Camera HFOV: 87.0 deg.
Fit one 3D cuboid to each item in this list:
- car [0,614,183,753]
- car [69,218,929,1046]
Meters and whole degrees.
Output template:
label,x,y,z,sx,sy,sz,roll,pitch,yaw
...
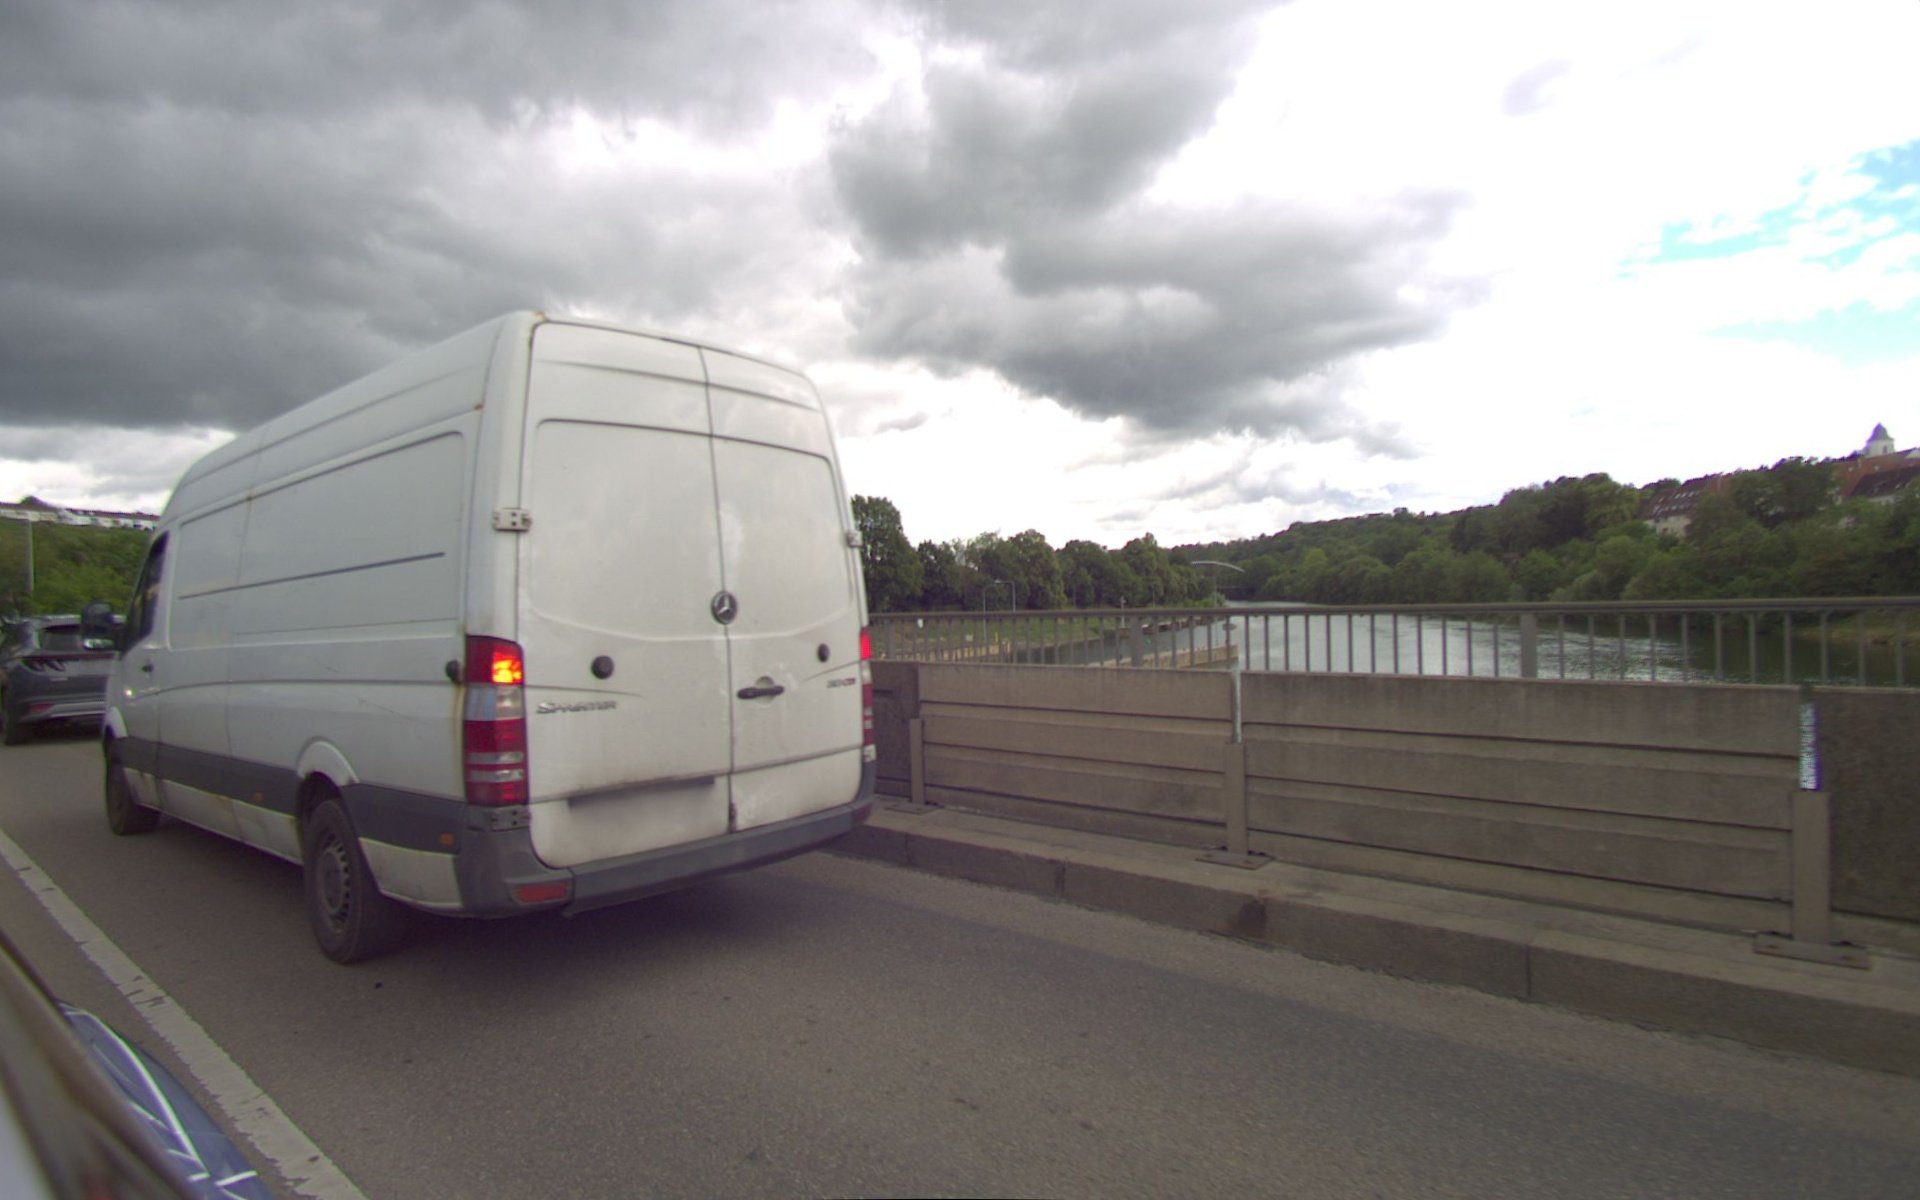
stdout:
label,x,y,z,sx,sy,sz,roll,pitch,yaw
car,-12.401,1.080,14.102,3.997,1.658,1.698,-3,-3,40
car,-3.480,0.208,6.205,7.002,2.580,2.013,-3,-2,40
